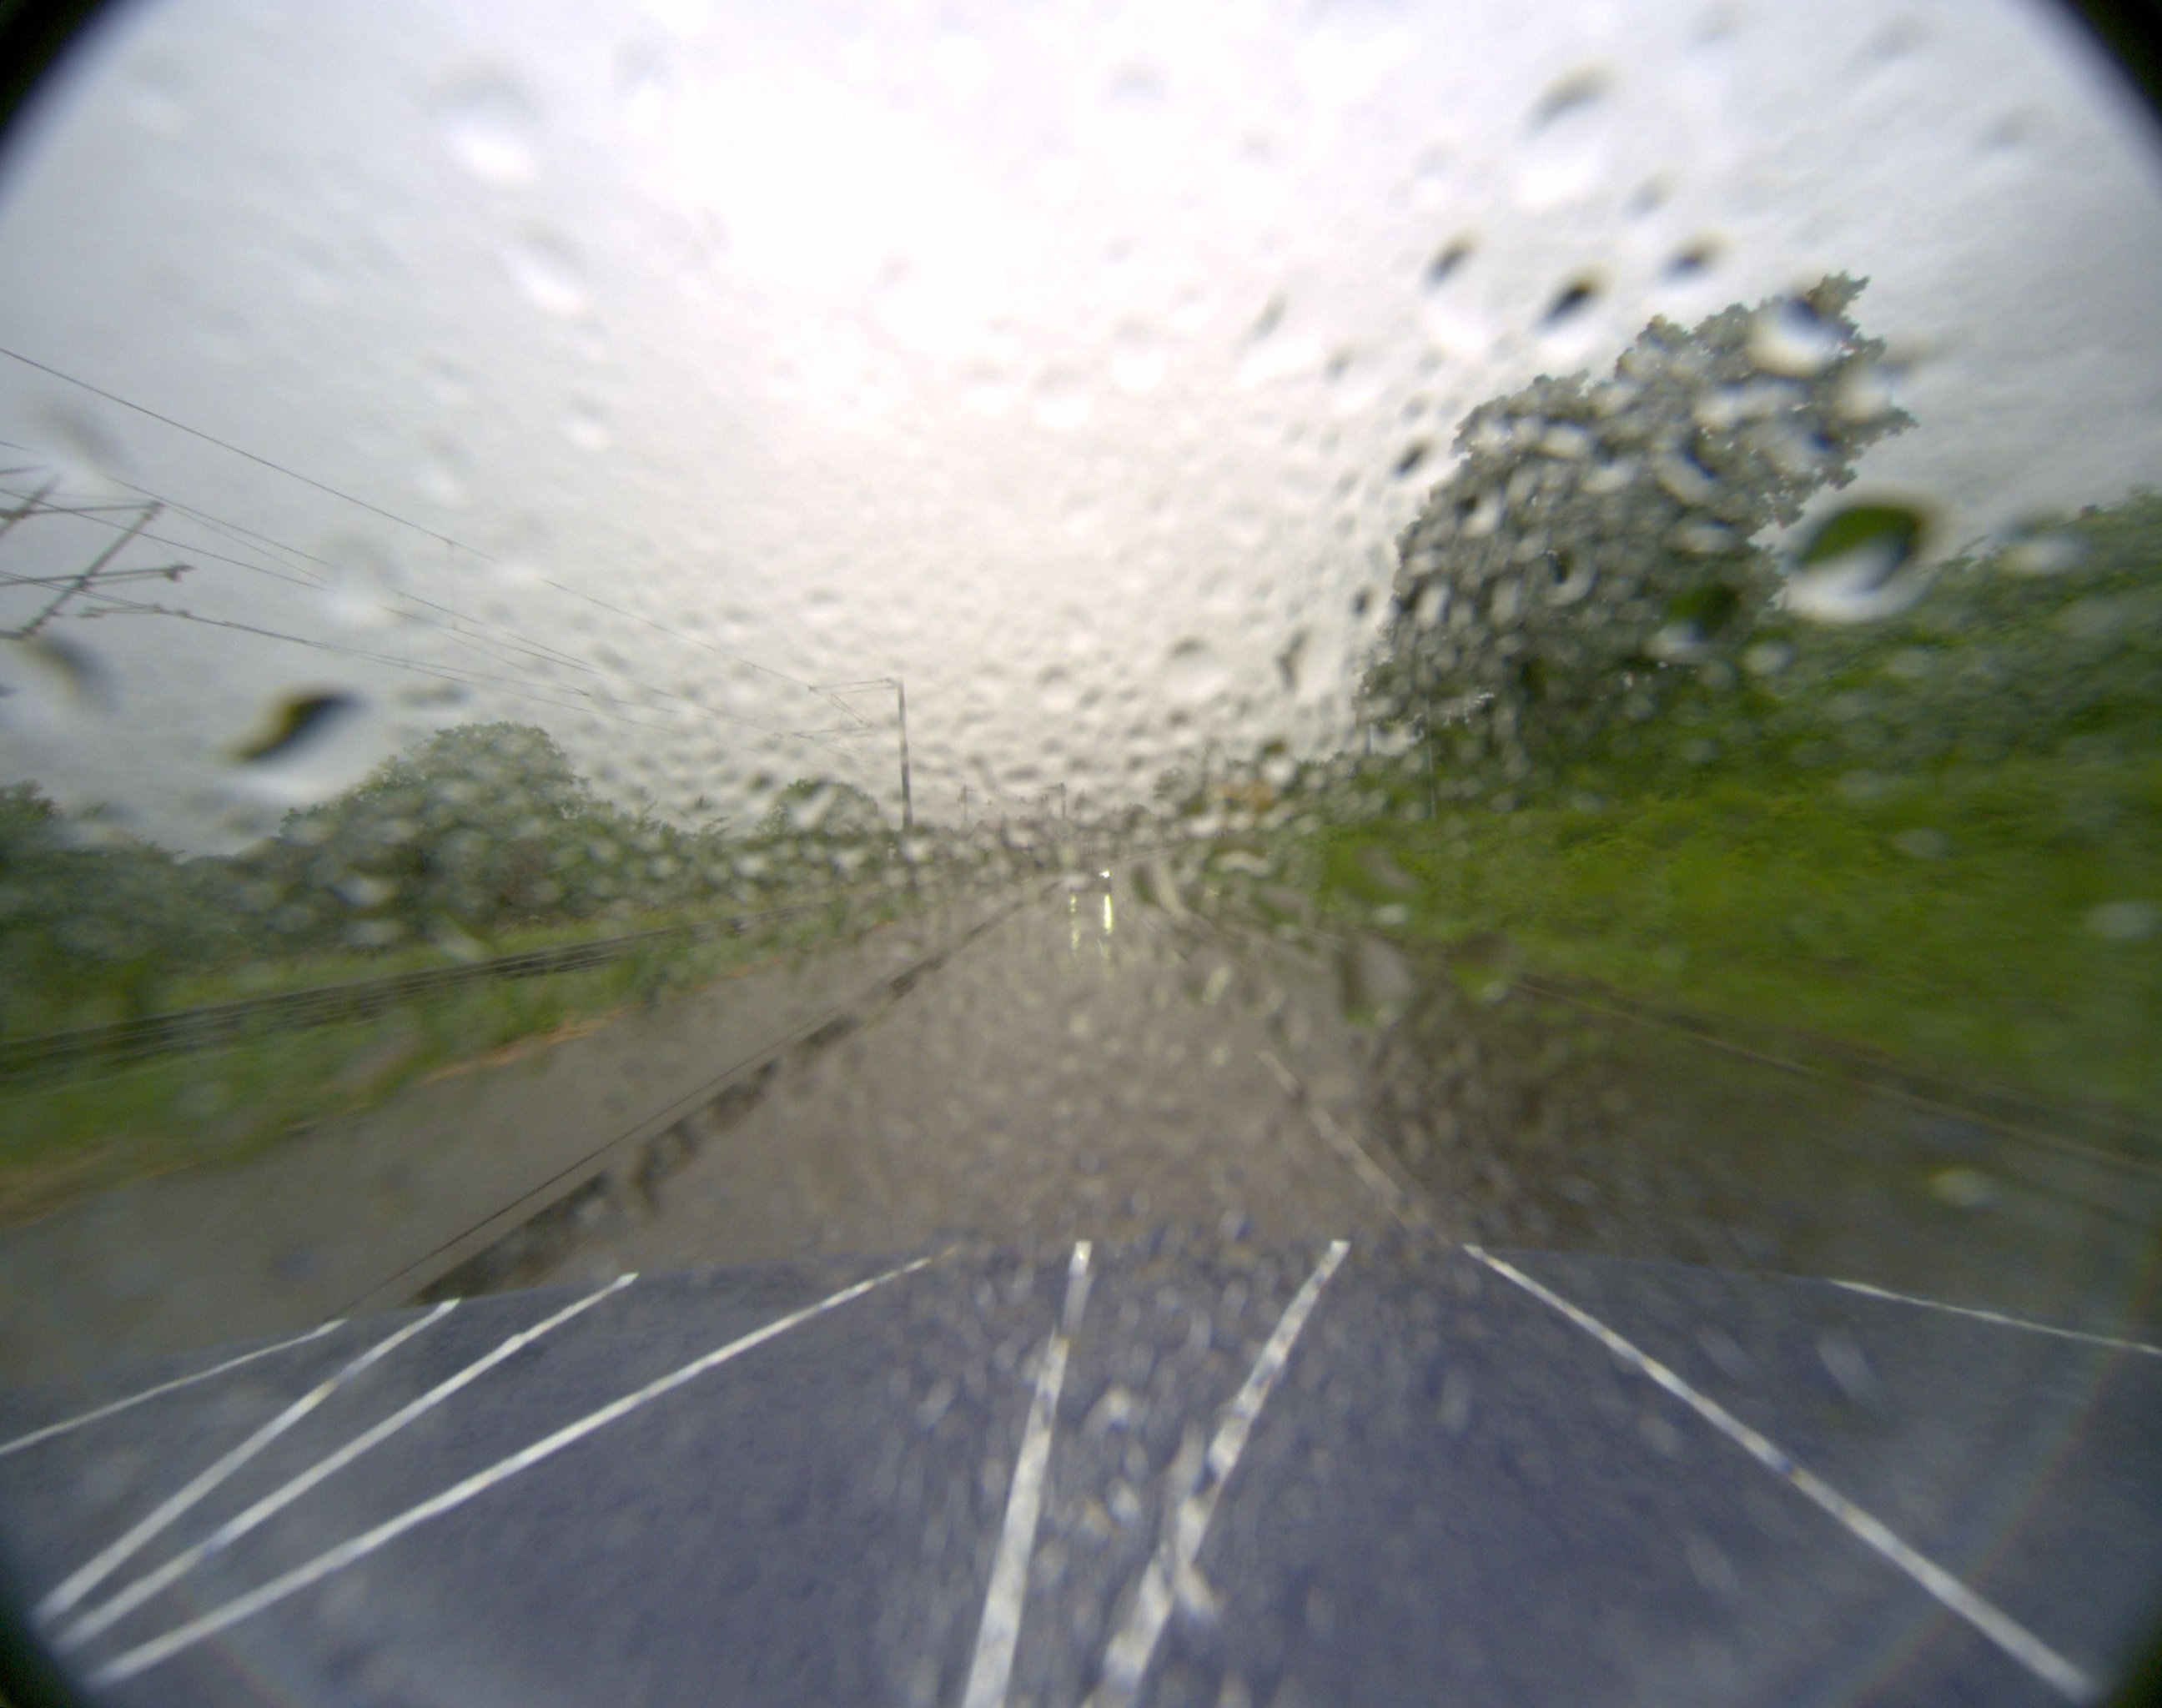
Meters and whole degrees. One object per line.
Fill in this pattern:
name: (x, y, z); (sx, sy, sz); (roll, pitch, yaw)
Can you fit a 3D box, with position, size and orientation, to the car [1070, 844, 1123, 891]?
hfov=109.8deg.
car: (0.727, 0.537, 32.978); (1.998, 1.623, 3.999); (-4, 3, 4)
